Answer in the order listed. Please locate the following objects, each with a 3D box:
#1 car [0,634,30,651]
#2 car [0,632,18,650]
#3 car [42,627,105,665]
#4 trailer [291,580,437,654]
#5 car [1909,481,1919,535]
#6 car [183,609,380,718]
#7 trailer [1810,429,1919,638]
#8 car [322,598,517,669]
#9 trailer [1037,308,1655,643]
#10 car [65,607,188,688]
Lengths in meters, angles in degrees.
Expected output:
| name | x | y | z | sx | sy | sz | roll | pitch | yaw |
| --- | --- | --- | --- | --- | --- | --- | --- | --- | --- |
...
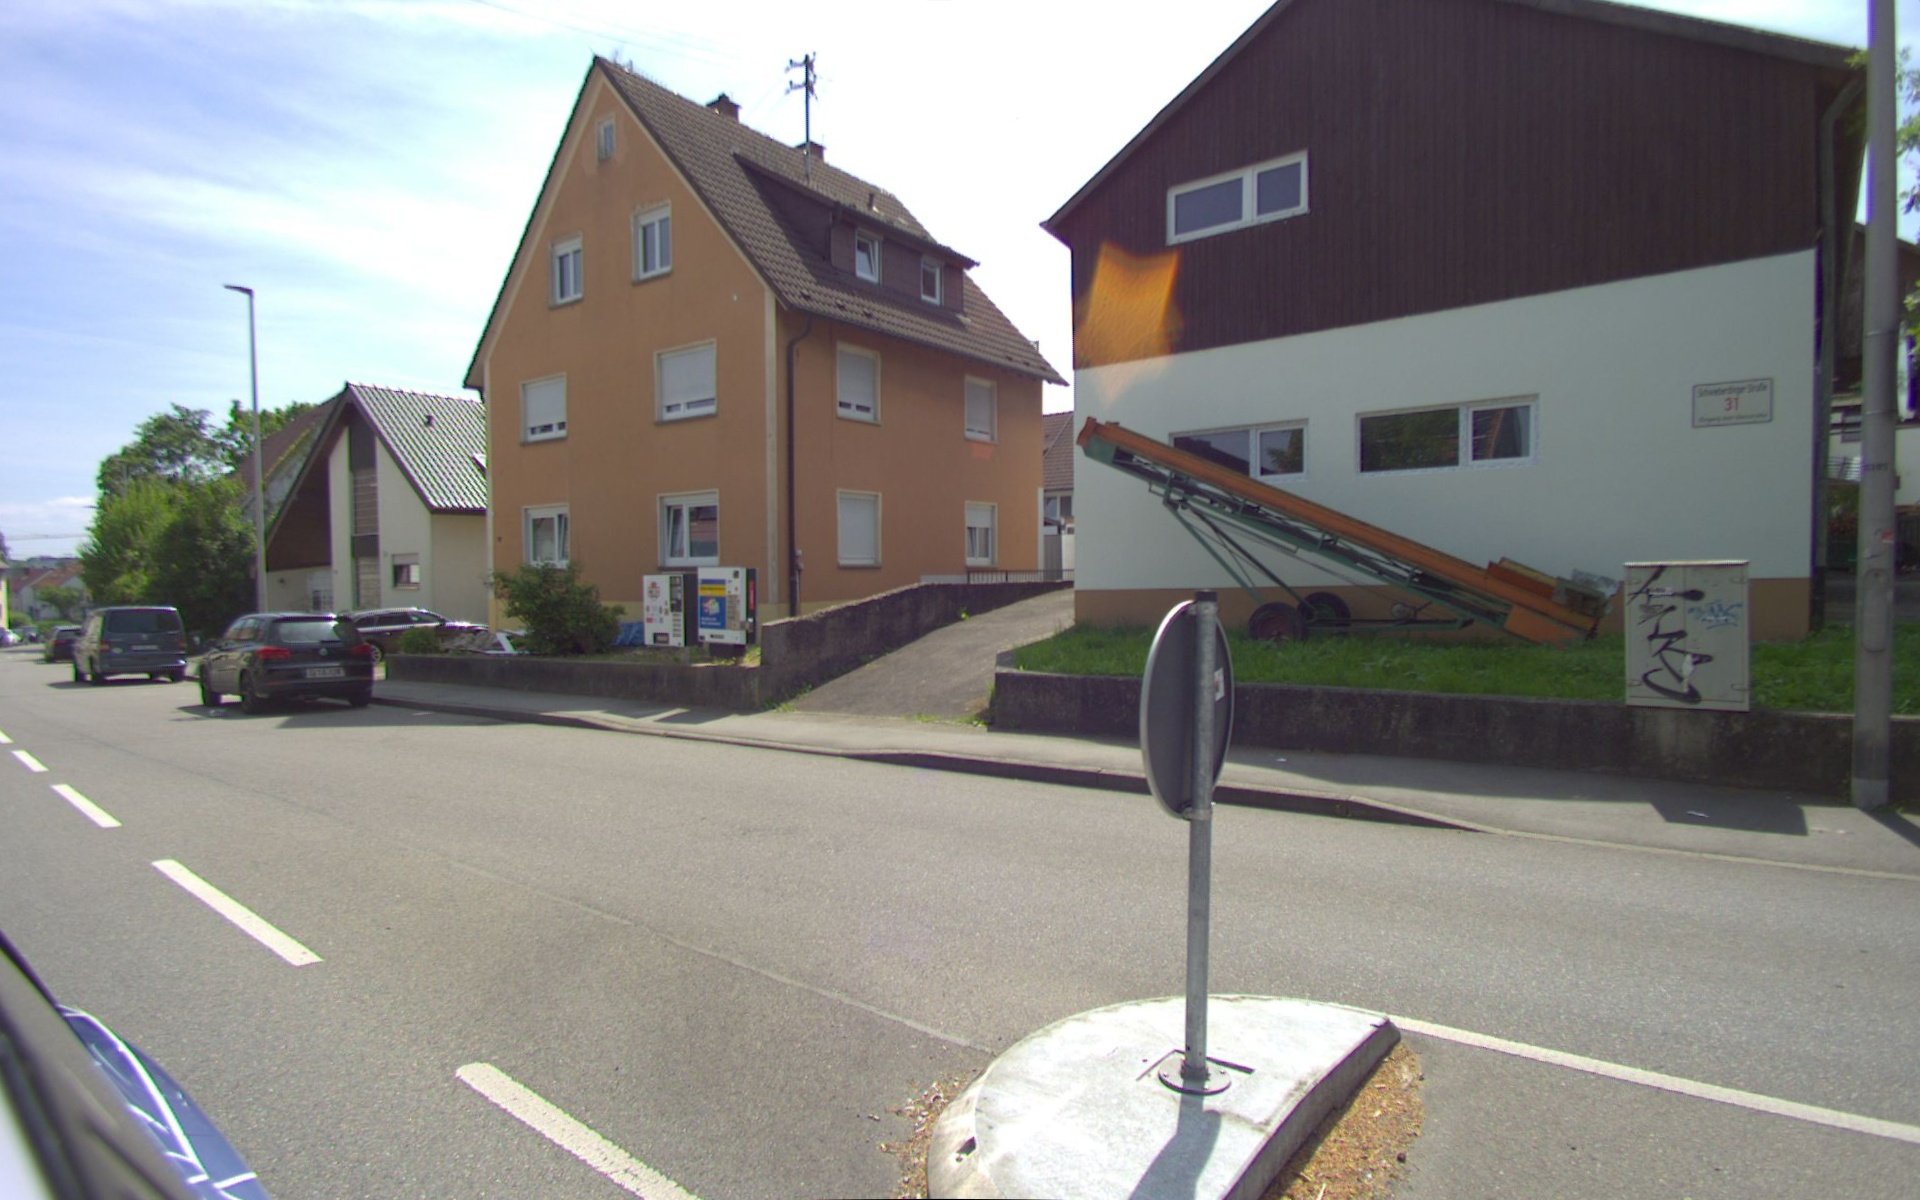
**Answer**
| name | x | y | z | sx | sy | sz | roll | pitch | yaw |
| --- | --- | --- | --- | --- | --- | --- | --- | --- | --- |
| car | -85.225 | 3.787 | 91.011 | 1.765 | 1.431 | 4.369 | -1 | -1 | -34 |
| car | -81.201 | 3.473 | 85.542 | 1.765 | 1.466 | 4.727 | -1 | -1 | -37 |
| car | -37.111 | 1.901 | 42.316 | 1.798 | 1.484 | 4.779 | 0 | -2 | -44 |
| trailer | -20.850 | 0.563 | 35.495 | 1.999 | 2.027 | 3.793 | -1 | 6 | 42 |
| car | 38.638 | -3.575 | 37.694 | 4.655 | 2.029 | 1.974 | -1 | 1 | 40 |
| car | -11.824 | 1.030 | 17.525 | 4.284 | 1.648 | 1.750 | -2 | -1 | 40 |
| trailer | 9.725 | -0.640 | 8.342 | 3.644 | 1.703 | 2.774 | -4 | 2 | -23 |
| car | -14.483 | 0.856 | 27.322 | 1.819 | 1.415 | 4.190 | -2 | 3 | 38 |
| trailer | 3.910 | -1.018 | 11.291 | 6.168 | 2.870 | 1.695 | -2 | 0 | 40 |
| car | -22.120 | 1.208 | 26.796 | 4.986 | 1.952 | 1.870 | -1 | -2 | 43 |
